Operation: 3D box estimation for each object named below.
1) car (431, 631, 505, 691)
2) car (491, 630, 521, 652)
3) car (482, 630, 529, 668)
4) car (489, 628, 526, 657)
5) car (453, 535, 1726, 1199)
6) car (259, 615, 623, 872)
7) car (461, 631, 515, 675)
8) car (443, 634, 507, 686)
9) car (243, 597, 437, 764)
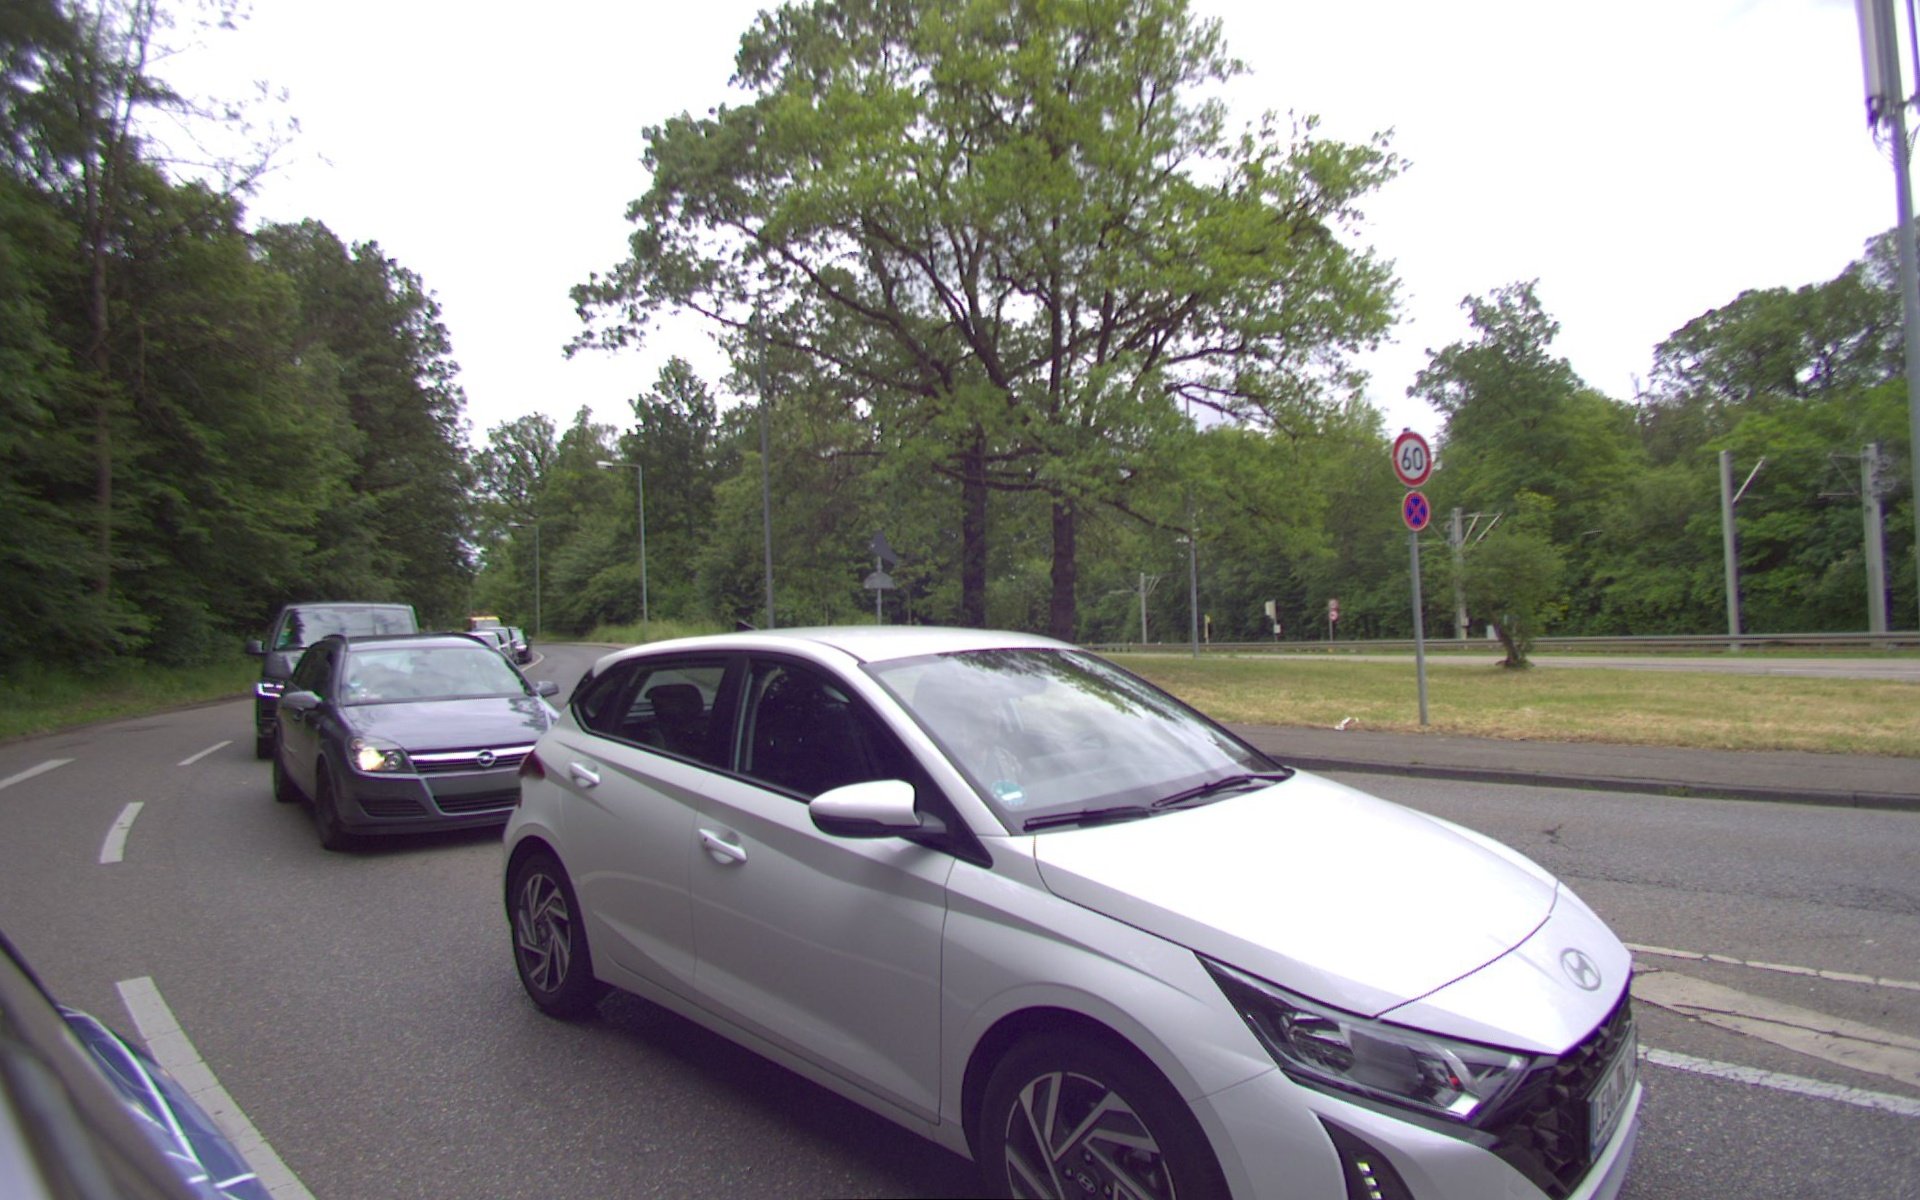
[{"bbox_3d":[-13.808,1.665,28.529,1.749,1.511,3.885,-1,-2,-25],"label":"car"},{"bbox_3d":[-31.836,2.866,70.980,1.749,1.511,3.885,-1,-2,-22],"label":"car"},{"bbox_3d":[-19.394,2.073,43.133,1.748,1.511,3.885,0,-2,-25],"label":"car"},{"bbox_3d":[-25.313,2.383,56.735,1.749,1.511,3.885,-1,-2,-22],"label":"car"},{"bbox_3d":[-0.078,0.730,3.421,4.073,1.490,1.631,-3,-2,43],"label":"car"},{"bbox_3d":[-4.452,0.933,8.259,1.775,1.490,4.478,0,-2,-39],"label":"car"},{"bbox_3d":[-17.606,1.944,37.783,1.748,1.511,3.885,0,-2,-25],"label":"car"},{"bbox_3d":[-15.400,1.863,32.227,1.748,1.511,3.885,0,-2,-25],"label":"car"},{"bbox_3d":[-8.396,0.988,13.964,1.957,1.887,4.545,0,-2,-29],"label":"car"}]
